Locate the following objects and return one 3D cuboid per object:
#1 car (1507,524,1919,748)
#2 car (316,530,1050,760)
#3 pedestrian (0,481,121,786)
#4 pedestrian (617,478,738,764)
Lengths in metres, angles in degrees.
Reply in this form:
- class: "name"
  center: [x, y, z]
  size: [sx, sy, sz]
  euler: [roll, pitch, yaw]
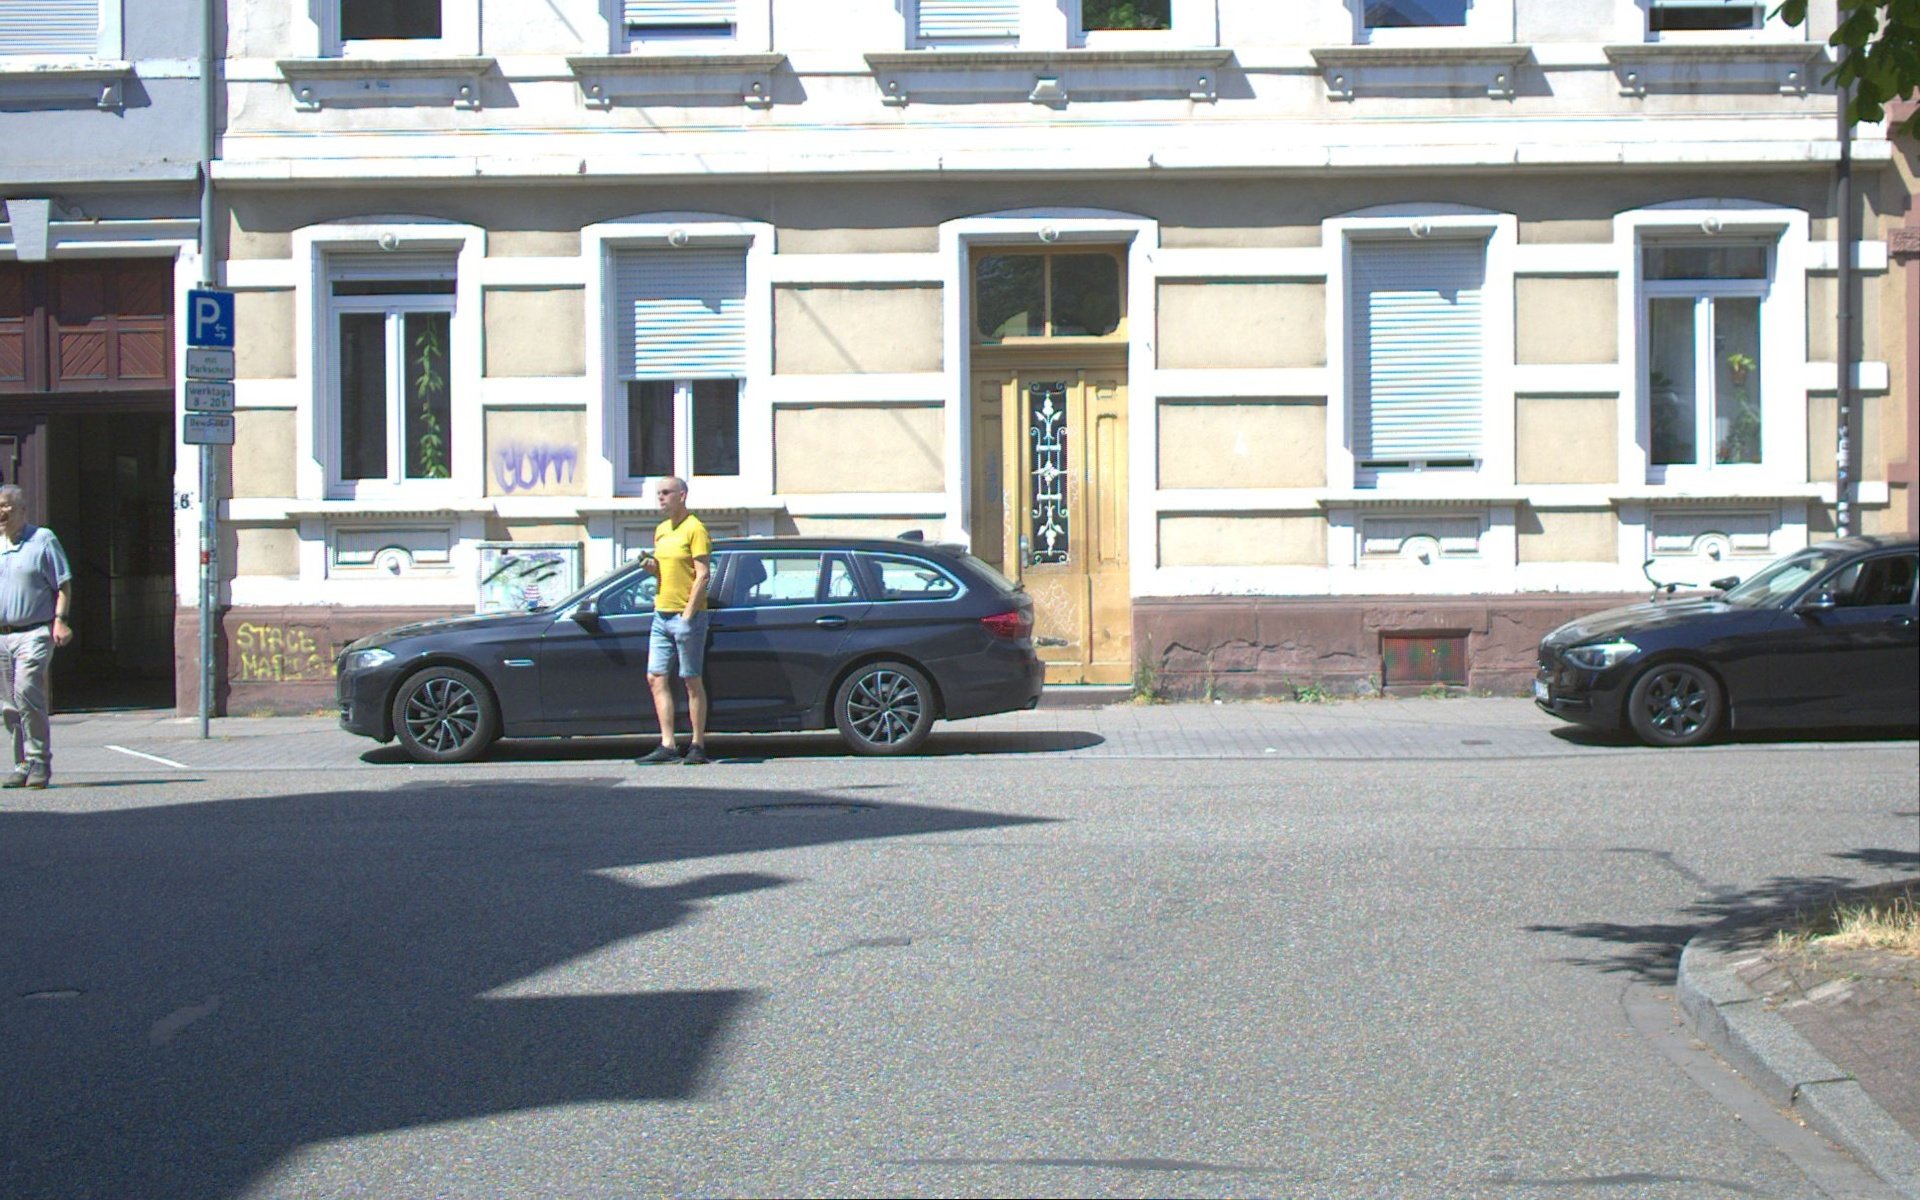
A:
- class: "car"
  center: [6.071, 0.208, 23.765]
  size: [4.294, 1.365, 1.807]
  euler: [-1, 3, 1]
- class: "car"
  center: [-1.824, 0.286, 23.831]
  size: [4.859, 1.432, 2.000]
  euler: [-1, 1, 1]
- class: "pedestrian"
  center: [-5.756, 0.197, 20.911]
  size: [0.901, 1.808, 0.960]
  euler: [-1, 1, 13]
- class: "pedestrian"
  center: [-1.857, 0.132, 22.691]
  size: [0.724, 1.847, 0.685]
  euler: [-1, 1, -2]
